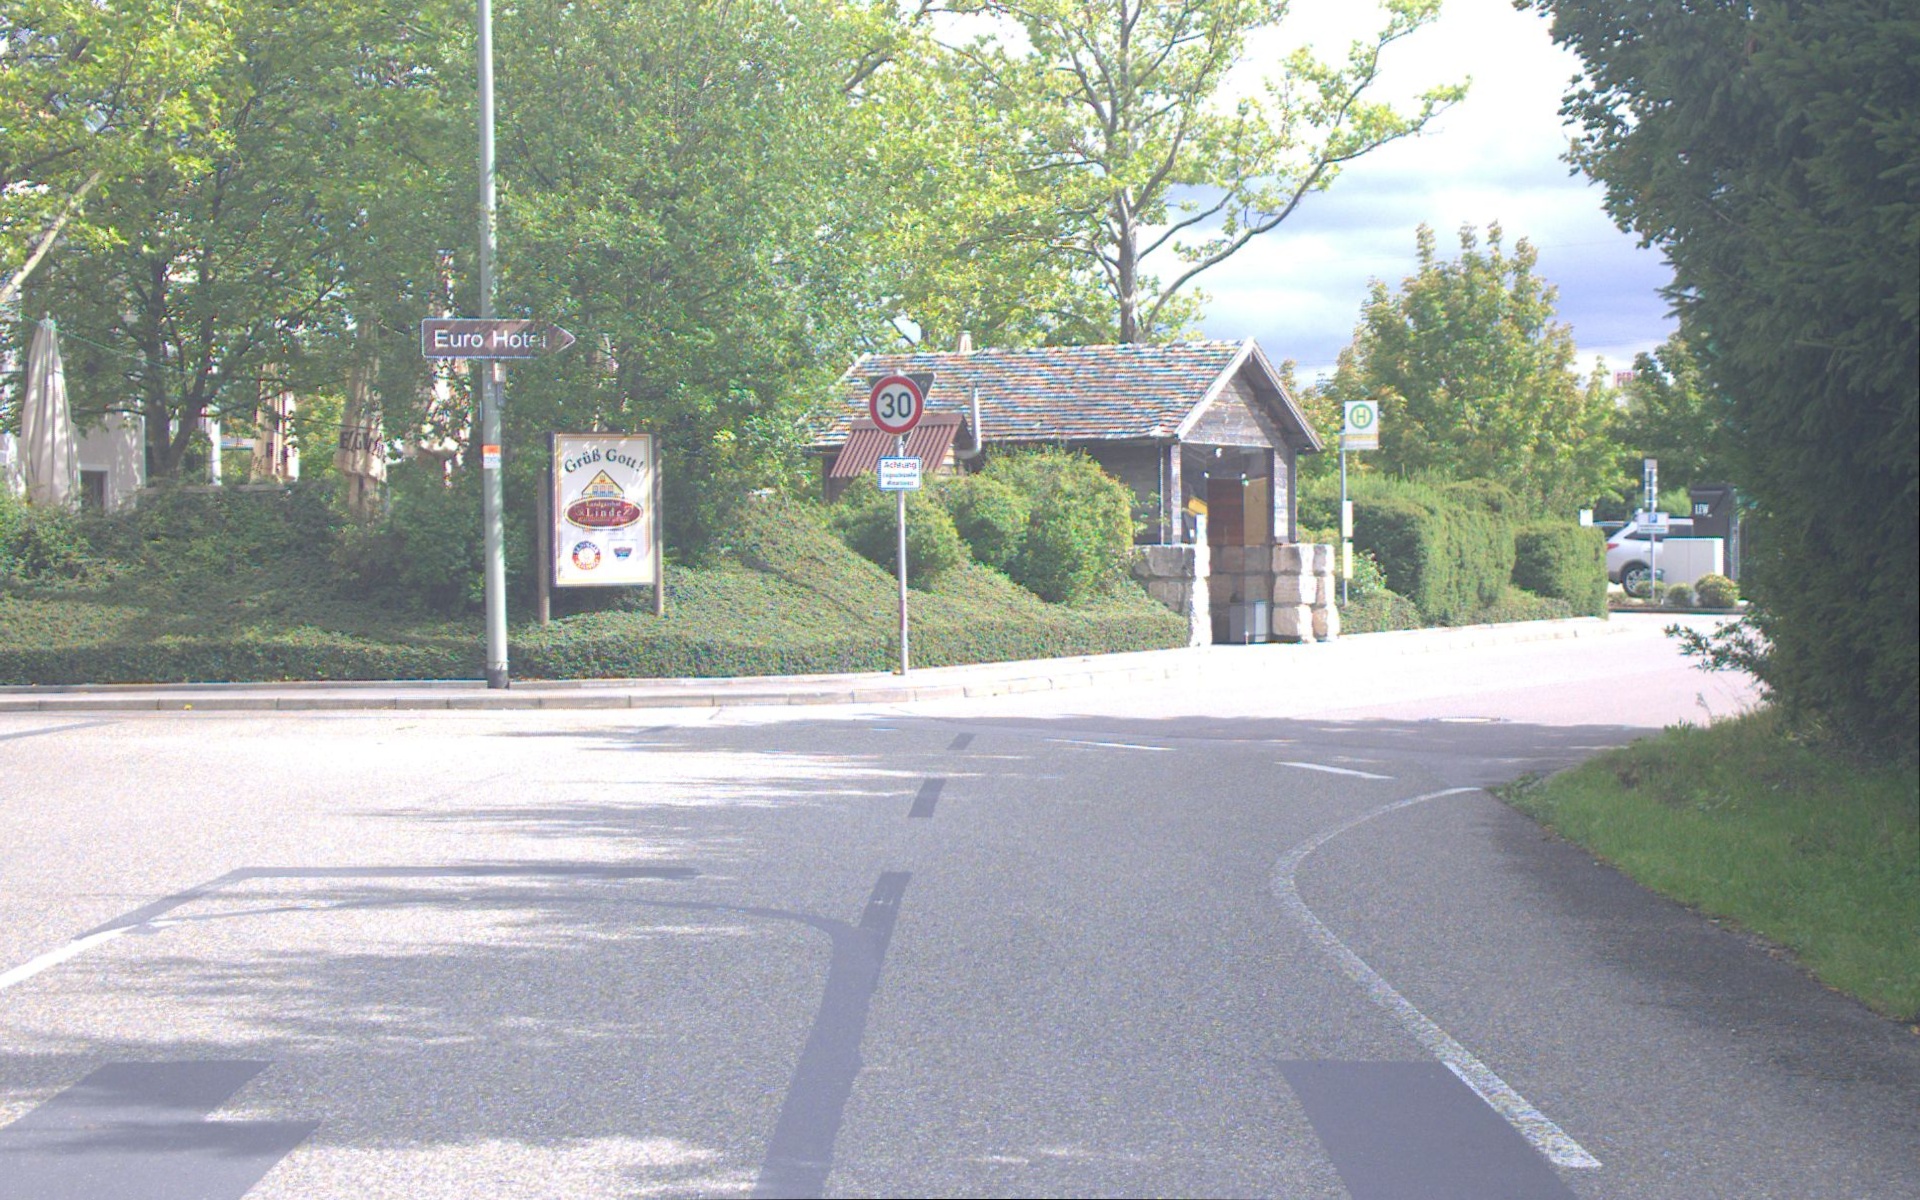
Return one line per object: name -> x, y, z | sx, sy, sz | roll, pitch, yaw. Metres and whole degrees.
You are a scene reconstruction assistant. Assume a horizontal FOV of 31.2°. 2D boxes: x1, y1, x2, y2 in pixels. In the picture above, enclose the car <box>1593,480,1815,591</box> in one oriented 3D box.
car -> 14.720, -1.278, 67.983 | 3.991, 2.116, 1.959 | 0, 1, 22
